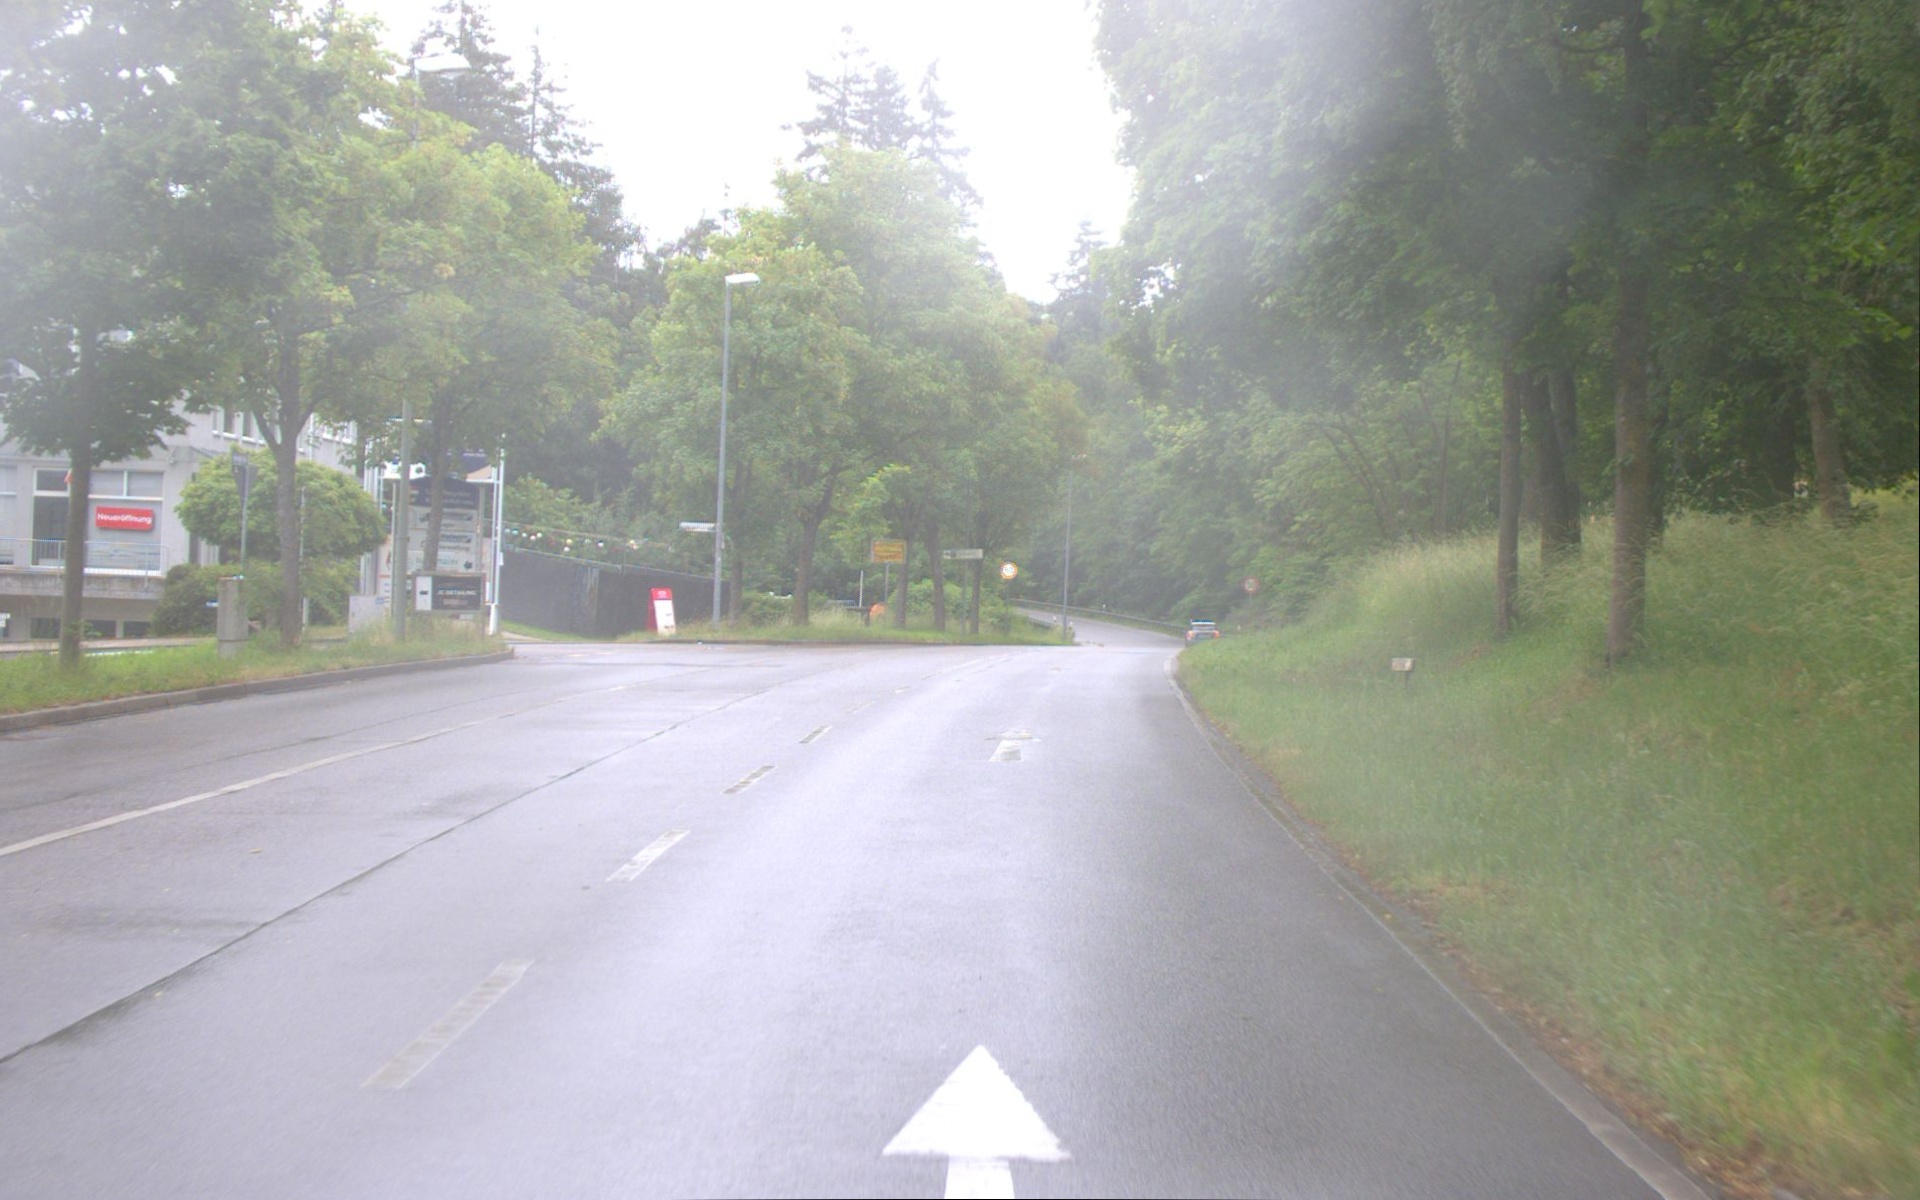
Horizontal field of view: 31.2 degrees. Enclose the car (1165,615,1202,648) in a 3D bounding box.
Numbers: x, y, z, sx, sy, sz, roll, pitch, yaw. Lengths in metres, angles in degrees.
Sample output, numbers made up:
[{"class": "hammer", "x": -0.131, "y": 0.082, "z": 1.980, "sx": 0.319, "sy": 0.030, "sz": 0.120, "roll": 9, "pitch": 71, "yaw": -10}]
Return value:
[{"class": "car", "x": 10.637, "y": 1.479, "z": 163.649, "sx": 1.737, "sy": 1.505, "sz": 3.999, "roll": 0, "pitch": 0, "yaw": 3}]
